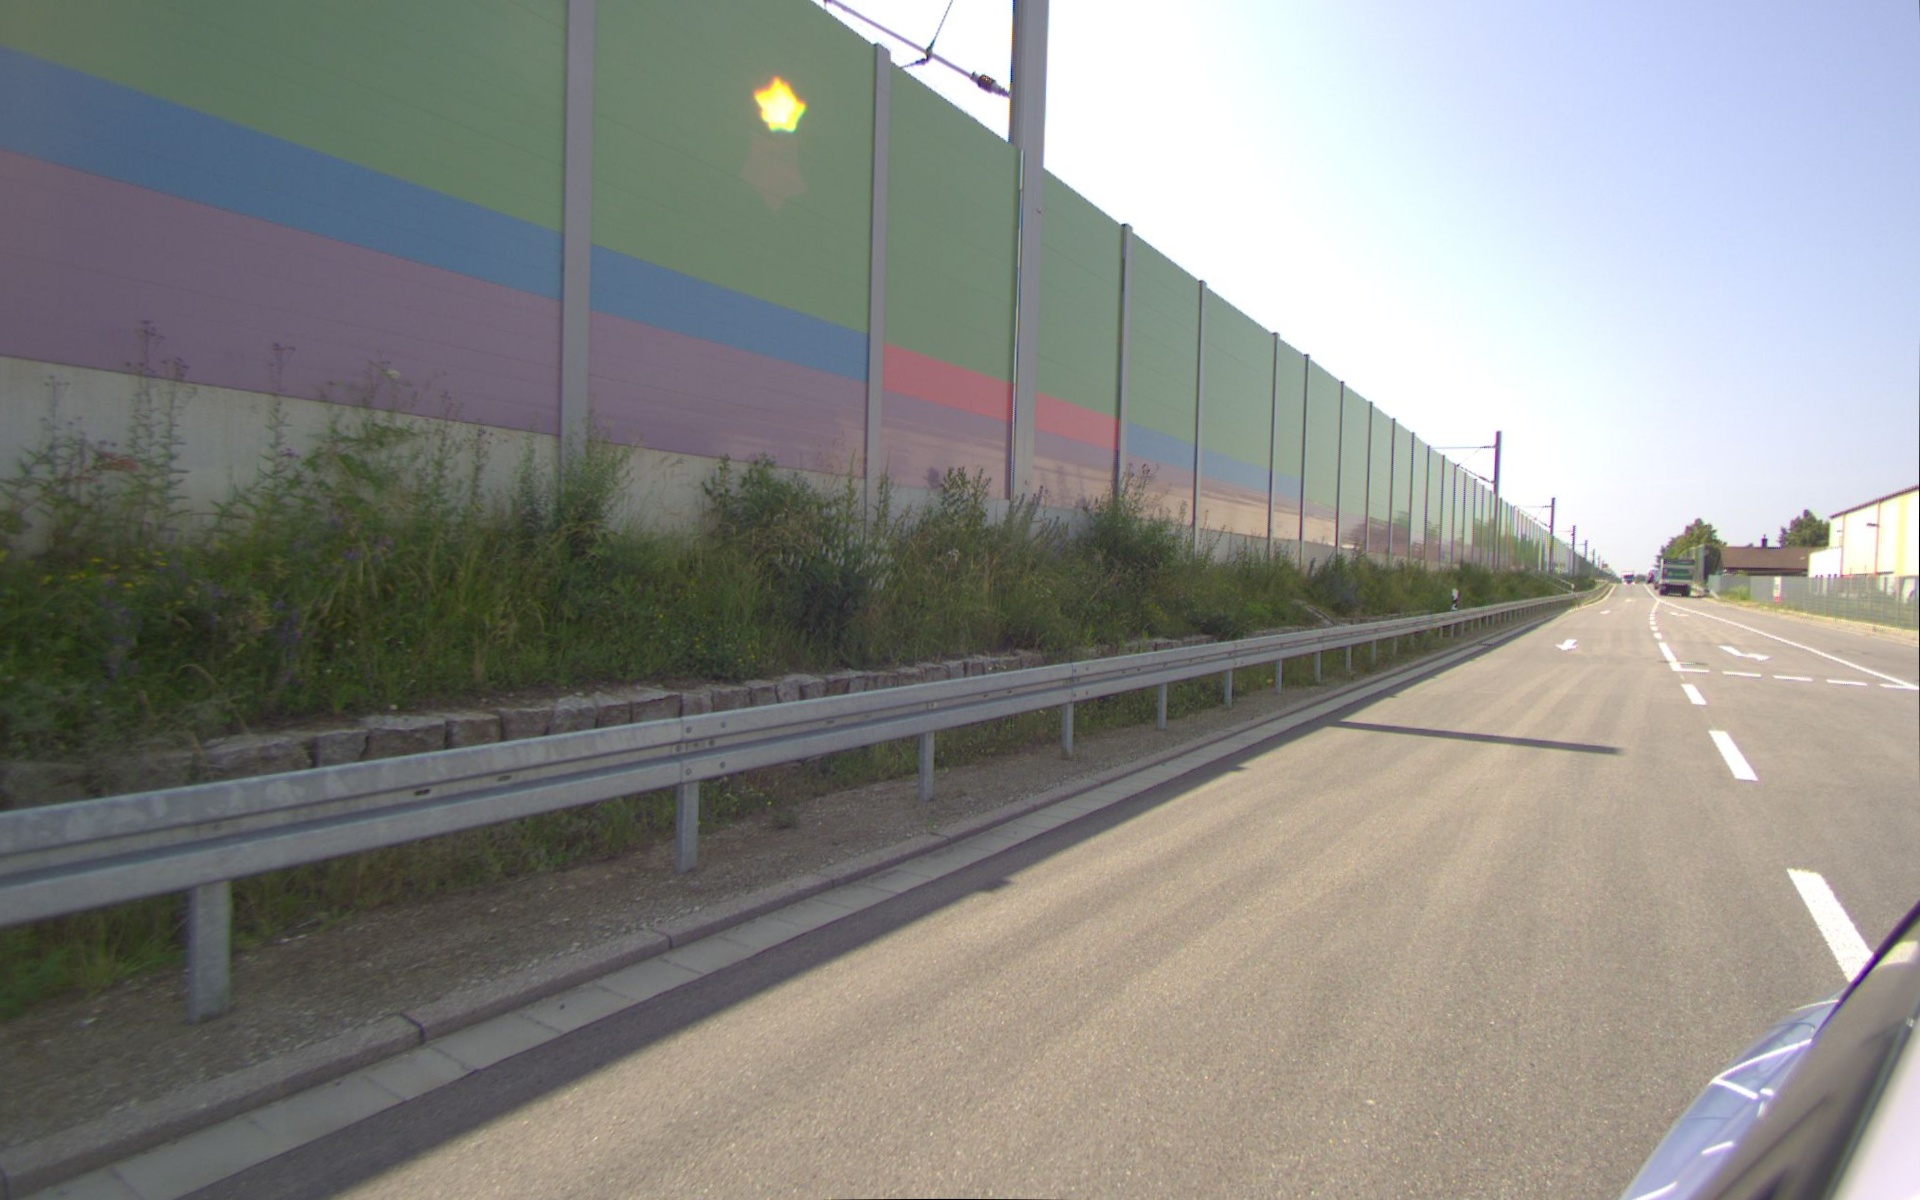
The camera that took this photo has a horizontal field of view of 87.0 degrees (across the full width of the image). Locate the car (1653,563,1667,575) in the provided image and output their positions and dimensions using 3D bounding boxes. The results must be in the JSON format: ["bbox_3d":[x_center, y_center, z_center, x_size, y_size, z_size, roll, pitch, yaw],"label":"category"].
[{"bbox_3d":[123.857,-5.455,179.140,1.988,2.038,3.950,3,2,35],"label":"car"}]

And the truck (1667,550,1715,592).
[{"bbox_3d":[74.048,-2.881,102.664,3.544,3.925,11.271,3,2,35],"label":"truck"}]
